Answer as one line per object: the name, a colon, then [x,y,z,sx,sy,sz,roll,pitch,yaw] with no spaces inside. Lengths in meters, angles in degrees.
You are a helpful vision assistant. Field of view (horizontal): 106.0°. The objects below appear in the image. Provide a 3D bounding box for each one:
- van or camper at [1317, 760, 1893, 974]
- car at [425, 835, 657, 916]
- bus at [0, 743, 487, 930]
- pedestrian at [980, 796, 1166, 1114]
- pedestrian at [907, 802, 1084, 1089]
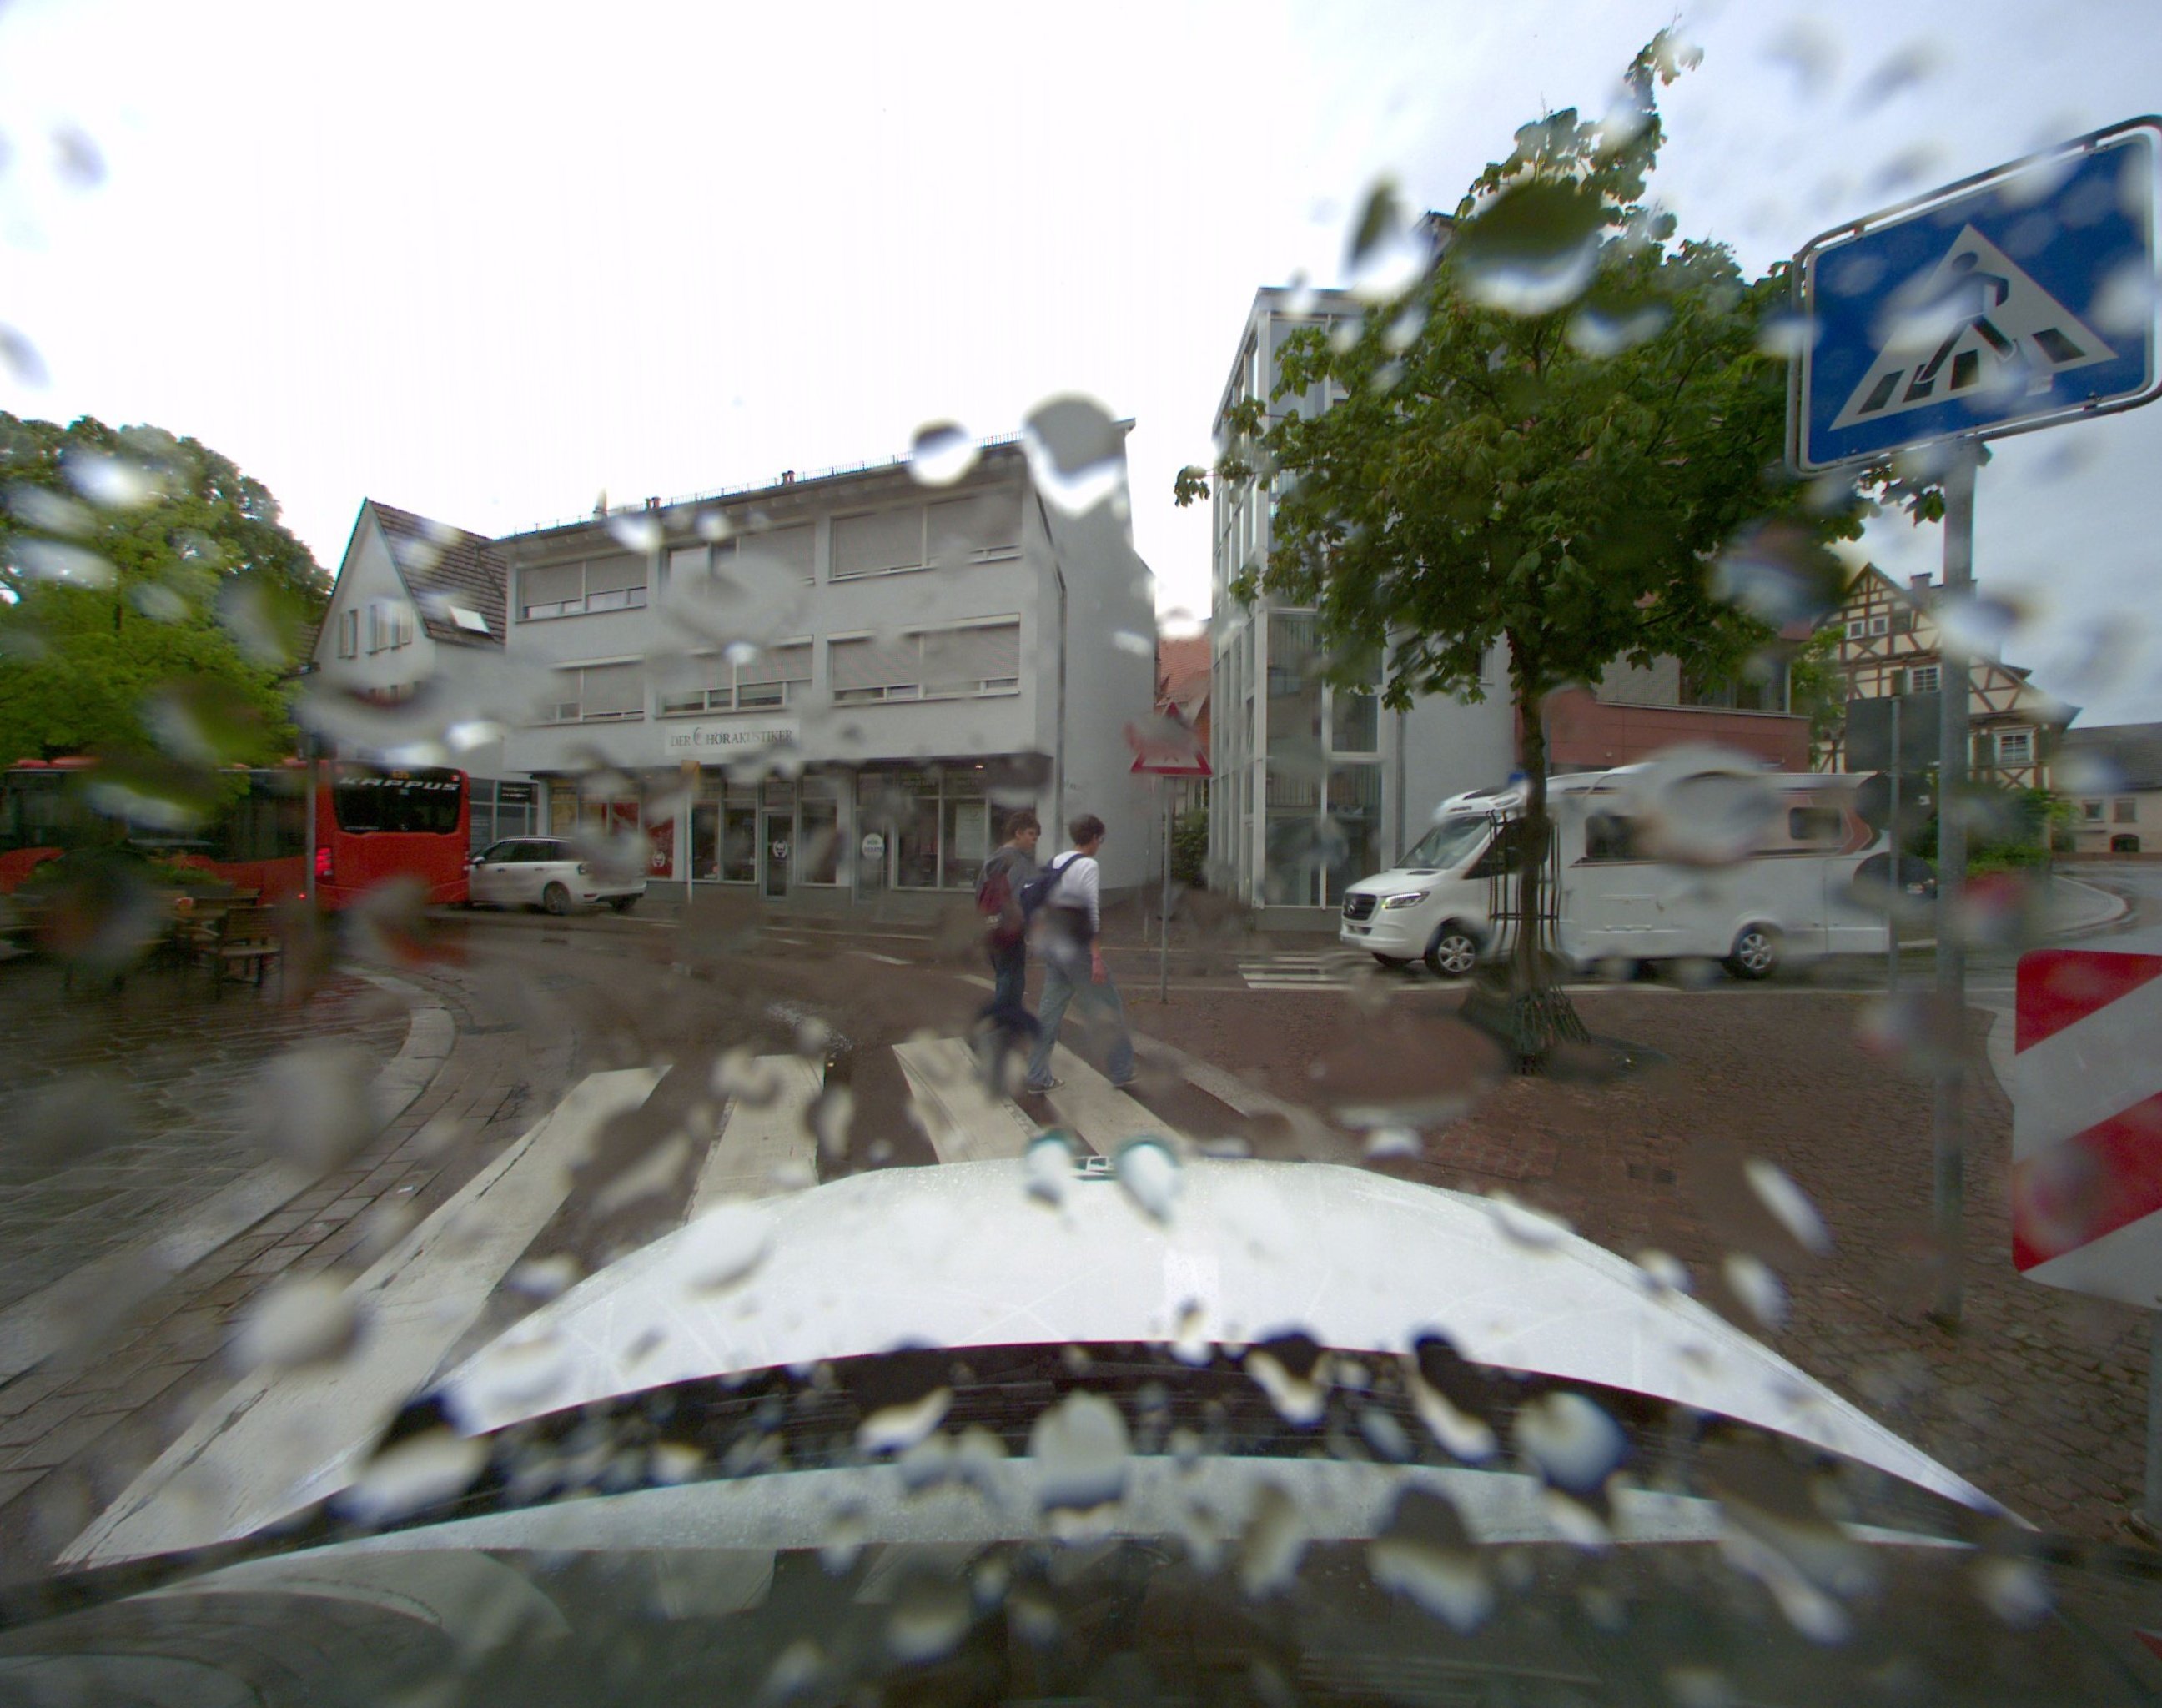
van or camper: [7.003,0.219,11.377,6.718,2.586,2.441,1,-1,-5]
car: [-11.819,0.392,17.884,4.420,1.630,1.790,0,1,16]
bus: [-17.232,-0.445,16.409,10.489,3.088,2.835,1,2,18]
pedestrian: [-0.028,0.579,5.248,0.657,1.807,1.067,0,-1,40]
pedestrian: [-0.575,0.579,5.740,0.685,1.800,1.065,0,-1,37]
